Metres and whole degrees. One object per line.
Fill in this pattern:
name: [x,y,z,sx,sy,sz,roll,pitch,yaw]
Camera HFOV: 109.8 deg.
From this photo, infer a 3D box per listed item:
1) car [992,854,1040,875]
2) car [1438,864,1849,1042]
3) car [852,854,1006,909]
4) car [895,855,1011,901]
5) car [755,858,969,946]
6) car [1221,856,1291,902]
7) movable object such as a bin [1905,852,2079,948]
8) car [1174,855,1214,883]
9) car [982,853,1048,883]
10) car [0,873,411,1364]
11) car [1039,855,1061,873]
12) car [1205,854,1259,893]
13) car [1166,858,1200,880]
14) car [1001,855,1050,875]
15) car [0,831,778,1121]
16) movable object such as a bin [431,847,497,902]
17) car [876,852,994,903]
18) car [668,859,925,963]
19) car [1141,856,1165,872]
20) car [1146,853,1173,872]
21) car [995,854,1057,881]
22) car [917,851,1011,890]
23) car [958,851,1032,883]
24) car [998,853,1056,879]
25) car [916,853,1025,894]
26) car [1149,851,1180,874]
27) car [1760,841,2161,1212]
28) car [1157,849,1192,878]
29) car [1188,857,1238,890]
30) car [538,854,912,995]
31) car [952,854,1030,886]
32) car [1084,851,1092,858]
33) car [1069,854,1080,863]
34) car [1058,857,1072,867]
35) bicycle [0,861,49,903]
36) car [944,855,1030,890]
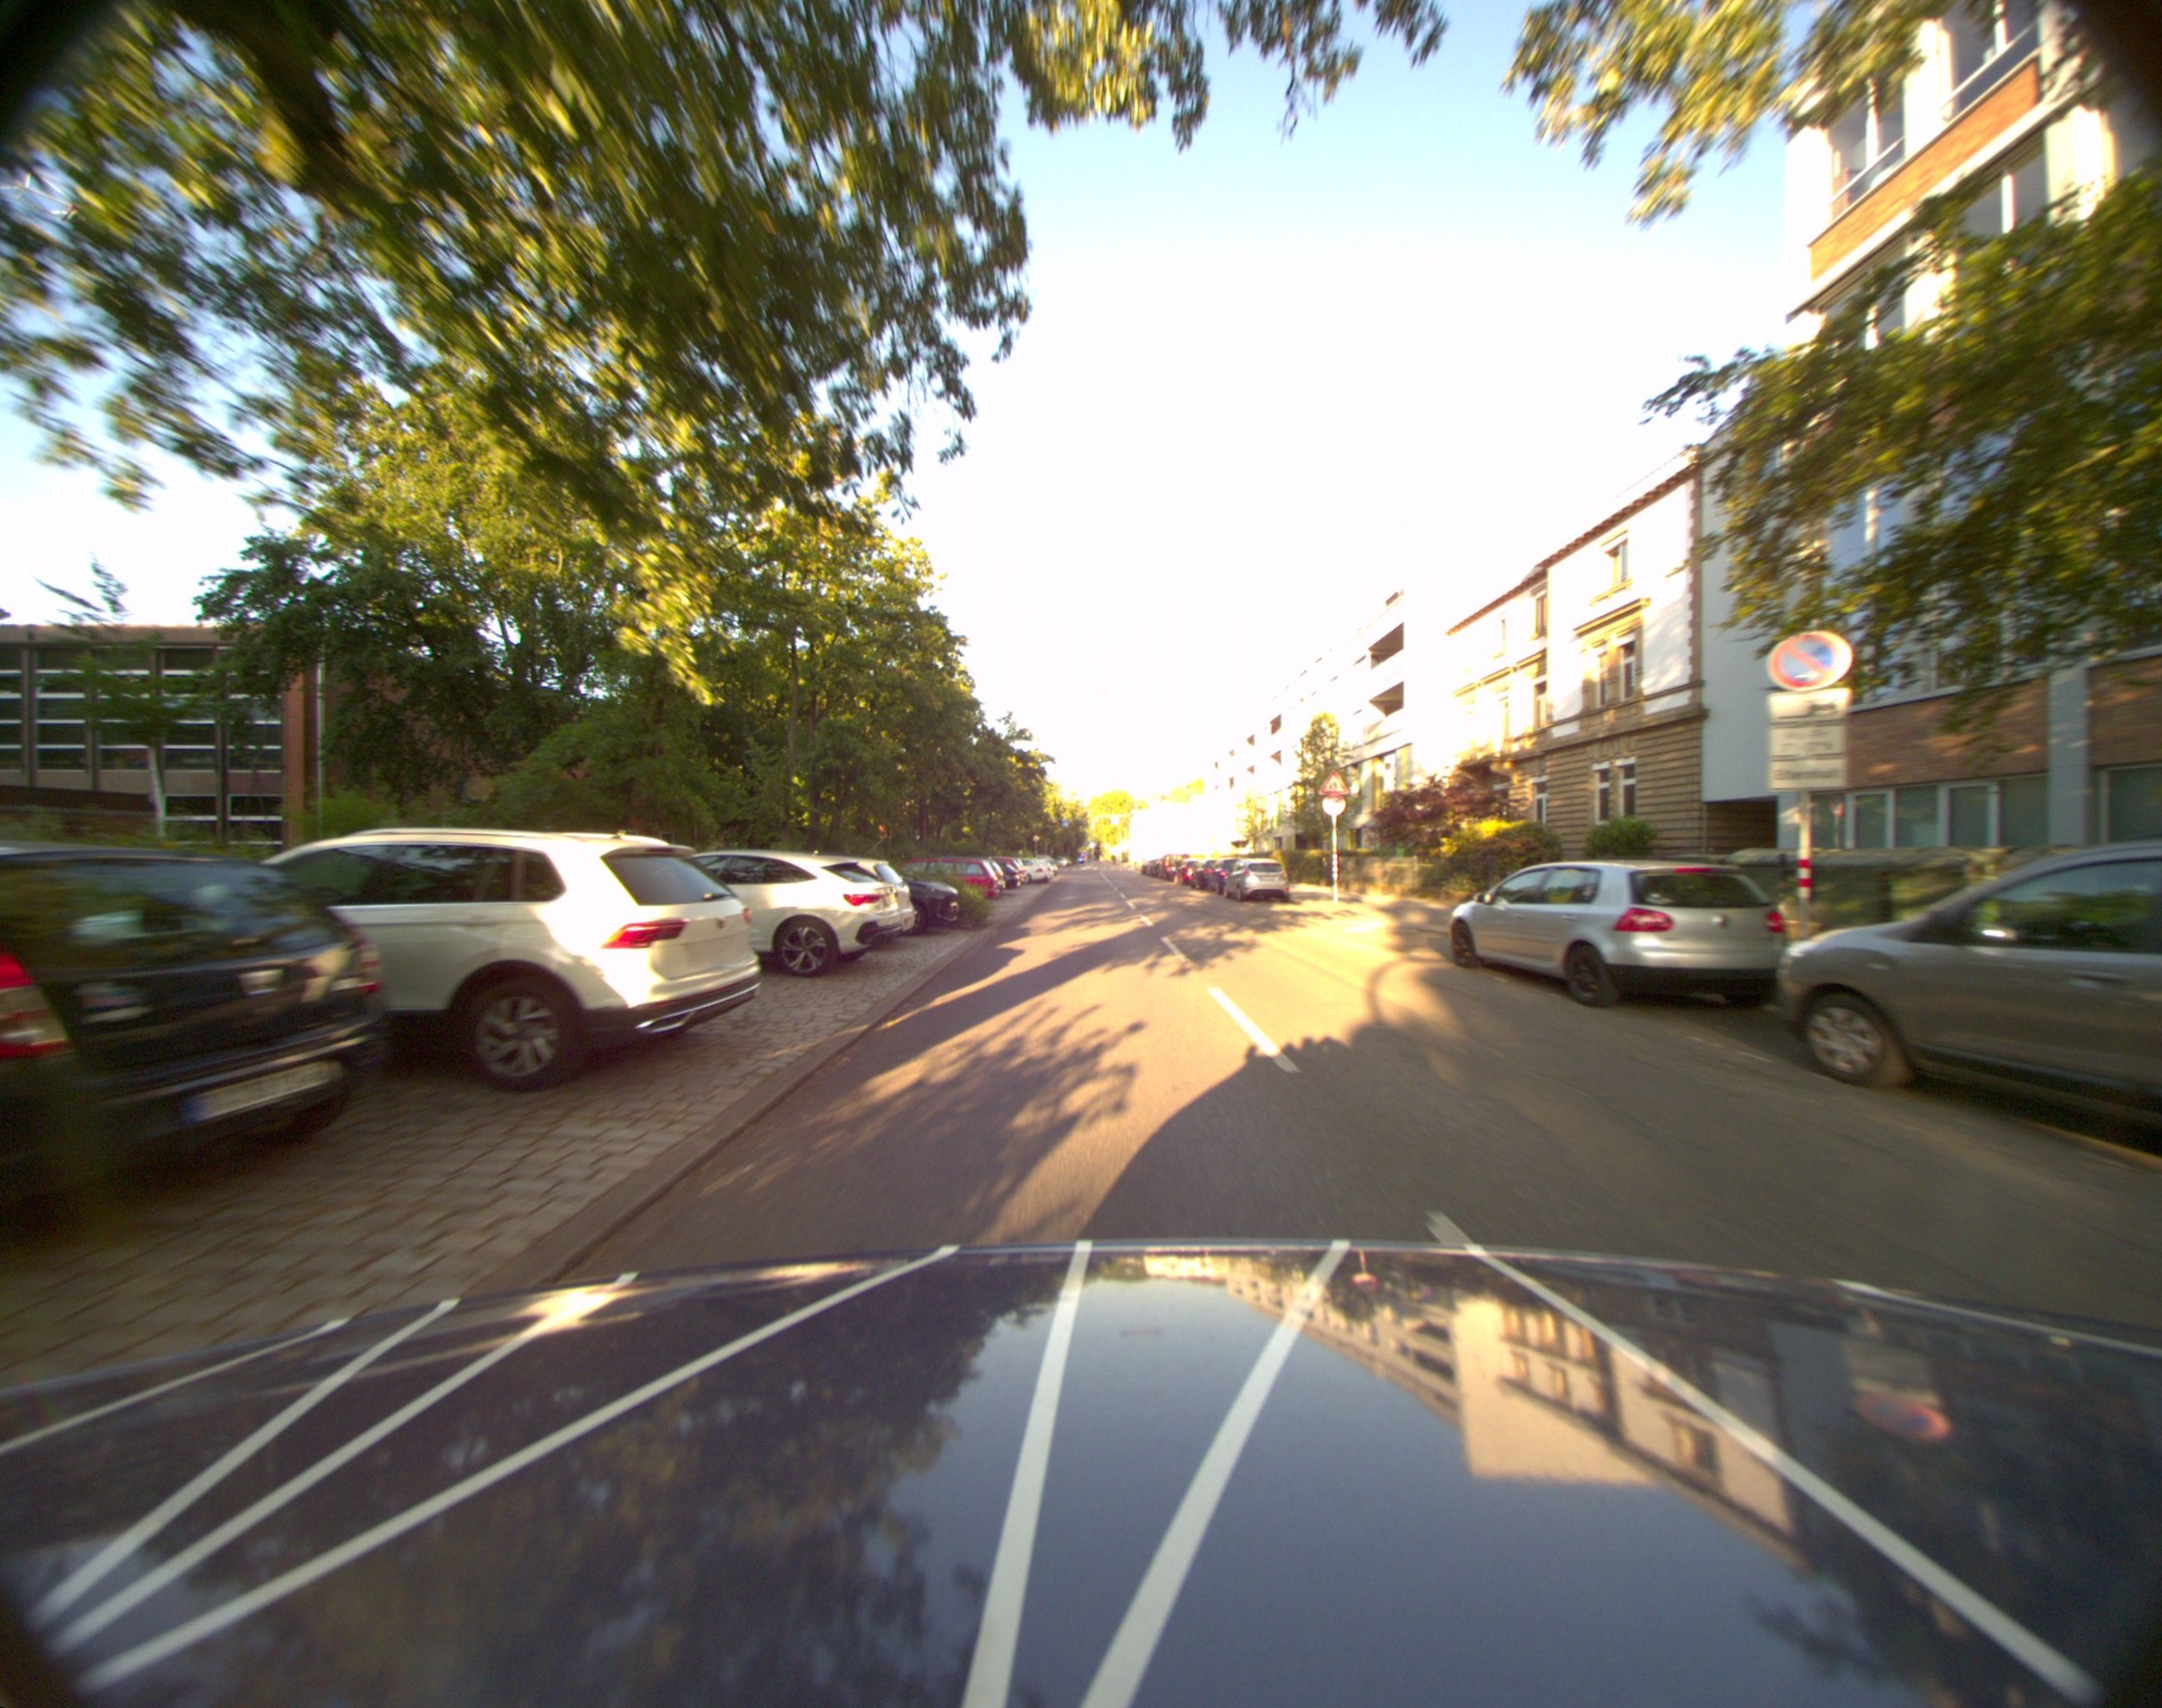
car: [-4.766,0.764,55.897,3.393,1.516,1.671,0,0,0]
car: [5.824,0.881,8.609,1.675,1.485,4.061,1,0,1]
car: [-4.613,0.839,23.538,4.349,1.466,1.742,3,-1,-1]
car: [-4.711,0.866,28.301,3.933,1.445,1.832,3,1,2]
car: [-4.226,0.896,15.095,3.754,1.585,1.696,-1,0,-2]
car: [6.114,0.837,26.903,1.605,1.485,3.772,1,0,0]
movable object such as a bin: [14.288,0.690,11.988,1.101,1.421,1.372,0,0,4]
car: [6.222,0.826,42.258,1.602,1.447,3.861,0,0,-1]
car: [-3.805,0.807,44.374,3.676,1.543,1.735,3,0,-1]
car: [-4.989,0.860,2.947,3.201,1.484,1.684,-1,0,-3]
car: [-2.685,0.842,65.381,1.655,1.558,4.299,1,0,-5]
car: [6.205,0.766,31.522,1.602,1.499,3.788,1,0,2]
car: [6.267,0.902,46.899,1.560,1.272,3.733,1,0,-1]
car: [-4.259,0.858,58.404,3.636,1.531,1.671,0,0,1]
car: [-4.693,0.738,5.535,4.179,1.700,1.868,-1,0,5]
movable object such as a bin: [-16.619,0.542,20.485,0.964,1.430,0.984,1,0,3]
car: [-4.940,0.784,26.098,3.722,1.546,1.741,3,1,-3]
car: [-4.624,0.898,12.750,3.598,1.557,1.818,-1,0,0]
car: [6.356,0.850,67.705,1.746,1.349,4.396,0,0,0]
car: [6.492,0.664,63.157,1.747,1.525,4.115,0,0,-2]
car: [-3.350,0.843,47.090,3.676,1.436,1.735,3,0,-1]
car: [-5.151,0.699,33.909,3.817,1.466,1.831,3,1,1]
car: [-4.693,0.680,41.757,3.734,1.490,1.820,3,1,1]
car: [-3.466,0.770,49.407,3.619,1.516,1.671,3,0,-1]
car: [-4.463,0.775,31.116,4.131,1.466,1.831,3,1,-1]
car: [6.264,0.635,57.435,1.746,1.666,4.416,-1,0,-1]
car: [5.799,0.806,3.390,1.683,1.698,4.340,1,0,1]
car: [6.379,0.620,52.167,1.812,1.878,4.238,1,0,-1]
car: [6.208,0.871,36.205,1.602,1.446,4.055,1,0,-1]
car: [-4.526,0.860,10.112,4.132,1.658,1.723,-1,0,1]
car: [-4.592,0.831,39.129,3.758,1.387,1.756,3,1,1]
car: [2.126,0.179,221.623,2.228,2.002,4.890,-1,0,1]
car: [-1.075,0.742,128.491,1.752,1.478,4.510,0,0,3]
car: [-2.552,1.241,121.803,1.752,1.478,4.177,0,0,4]
bicycle: [-27.471,0.718,18.765,0.648,1.039,2.387,0,0,2]
car: [-4.460,0.863,36.579,3.817,1.466,1.756,3,0,1]
